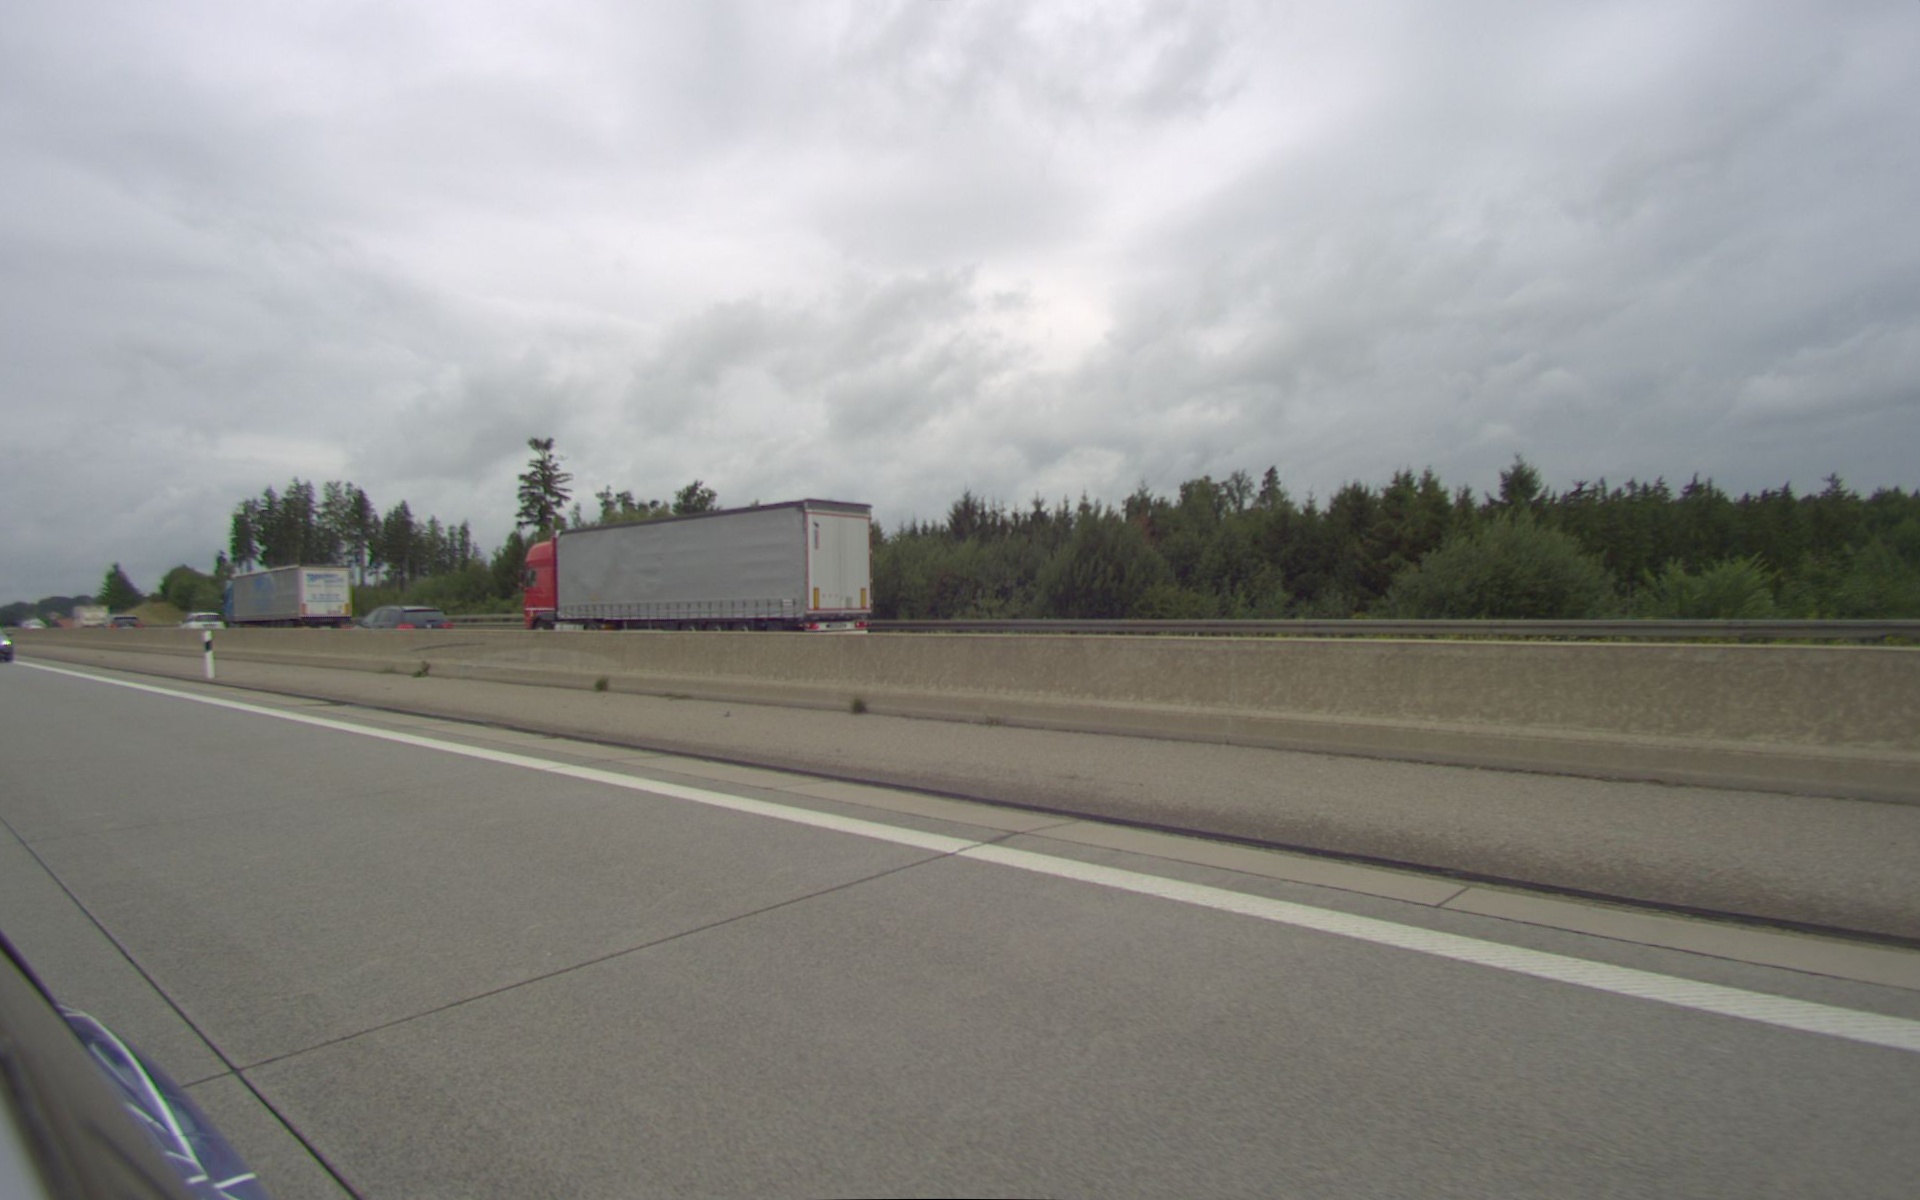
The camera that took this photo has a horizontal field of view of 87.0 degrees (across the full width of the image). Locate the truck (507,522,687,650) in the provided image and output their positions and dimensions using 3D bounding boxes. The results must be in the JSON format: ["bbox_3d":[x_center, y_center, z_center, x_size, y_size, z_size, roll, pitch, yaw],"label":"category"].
[{"bbox_3d":[-13.256,-0.419,36.719,6.491,4.214,3.433,-2,-1,42],"label":"truck"}]

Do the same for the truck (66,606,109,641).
[{"bbox_3d":[-104.224,2.823,120.887,8.898,3.893,2.868,-2,-1,42],"label":"truck"}]

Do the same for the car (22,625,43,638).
[{"bbox_3d":[-120.318,4.046,131.240,4.410,1.578,1.612,-2,-1,43],"label":"car"}]

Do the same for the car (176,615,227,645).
[{"bbox_3d":[-44.398,1.729,59.225,4.294,1.663,1.597,-2,-1,42],"label":"car"}]

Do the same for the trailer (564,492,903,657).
[{"bbox_3d":[-7.583,-0.542,31.597,12.924,4.233,3.446,-2,-1,42],"label":"trailer"}]

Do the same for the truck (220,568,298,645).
[{"bbox_3d":[-45.040,0.438,64.955,5.230,4.712,2.897,-2,-1,41],"label":"truck"}]

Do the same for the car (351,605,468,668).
[{"bbox_3d":[-16.322,1.058,29.930,4.179,1.691,1.695,-2,-1,41],"label":"car"}]

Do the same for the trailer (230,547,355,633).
[{"bbox_3d":[-40.104,-0.425,60.449,13.633,4.660,2.885,-2,-1,42],"label":"trailer"}]

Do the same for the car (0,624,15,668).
[{"bbox_3d":[-35.028,1.646,35.868,4.568,1.491,1.767,-2,-1,41],"label":"car"}]

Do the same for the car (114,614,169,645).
[{"bbox_3d":[-45.324,1.645,56.017,4.719,1.627,1.680,-2,-1,43],"label":"car"}]
